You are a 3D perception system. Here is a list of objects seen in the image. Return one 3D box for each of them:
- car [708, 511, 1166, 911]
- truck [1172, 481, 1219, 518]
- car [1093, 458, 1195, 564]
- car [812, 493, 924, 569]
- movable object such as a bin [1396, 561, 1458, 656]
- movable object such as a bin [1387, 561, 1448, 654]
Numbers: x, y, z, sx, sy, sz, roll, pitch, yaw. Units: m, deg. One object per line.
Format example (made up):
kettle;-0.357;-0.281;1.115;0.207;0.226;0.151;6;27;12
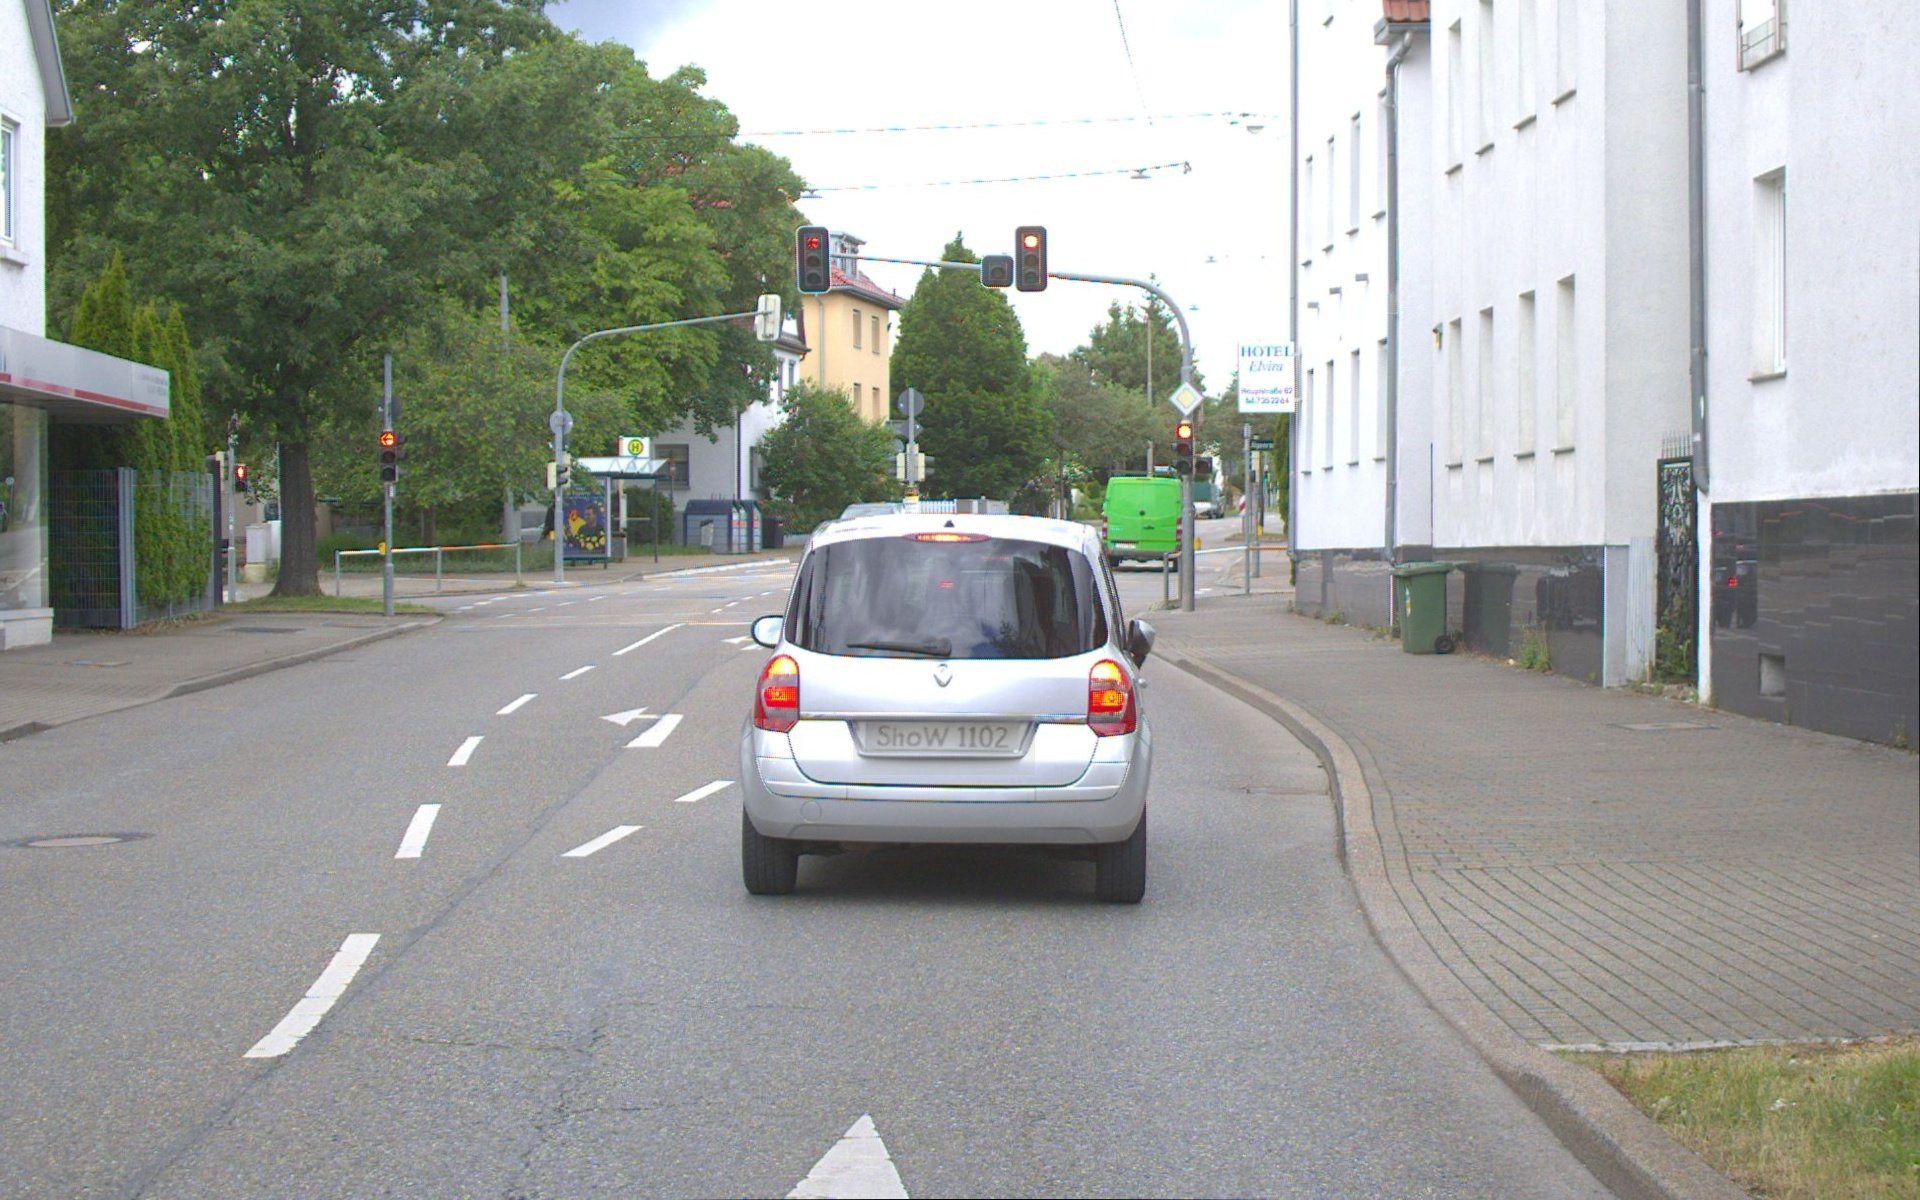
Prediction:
car;-0.096;0.392;15.309;1.755;1.525;4.000;1;1;0
truck;13.666;-5.804;199.245;2.102;2.007;5.745;1;1;10
car;4.603;-2.191;85.278;2.060;2.503;5.594;1;1;8
car;-2.298;-1.760;87.174;1.927;1.767;3.998;-4;1;11
movable object such as a bin;4.780;0.084;35.207;0.540;0.938;0.487;-2;1;1
movable object such as a bin;4.757;0.073;35.744;0.540;0.938;0.487;-2;1;1
